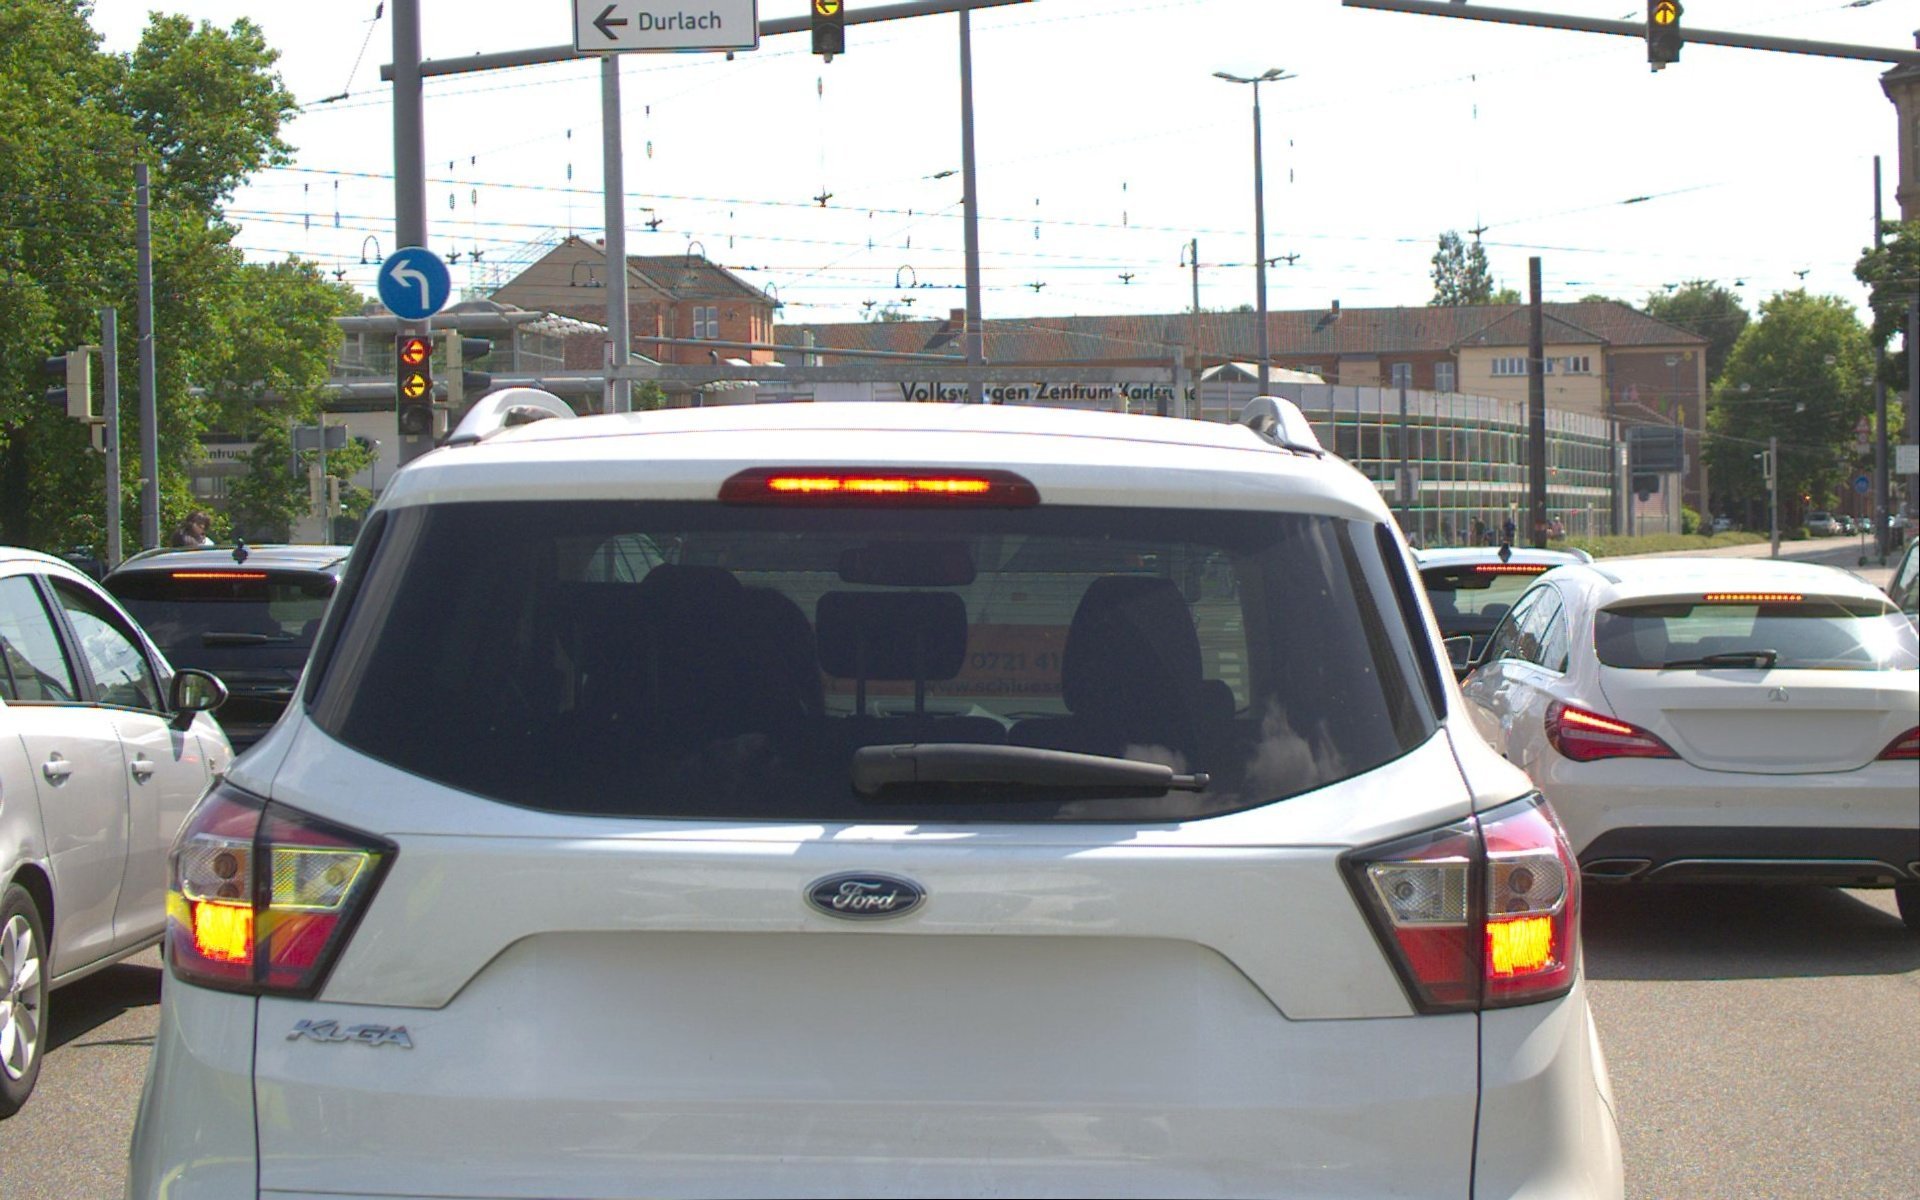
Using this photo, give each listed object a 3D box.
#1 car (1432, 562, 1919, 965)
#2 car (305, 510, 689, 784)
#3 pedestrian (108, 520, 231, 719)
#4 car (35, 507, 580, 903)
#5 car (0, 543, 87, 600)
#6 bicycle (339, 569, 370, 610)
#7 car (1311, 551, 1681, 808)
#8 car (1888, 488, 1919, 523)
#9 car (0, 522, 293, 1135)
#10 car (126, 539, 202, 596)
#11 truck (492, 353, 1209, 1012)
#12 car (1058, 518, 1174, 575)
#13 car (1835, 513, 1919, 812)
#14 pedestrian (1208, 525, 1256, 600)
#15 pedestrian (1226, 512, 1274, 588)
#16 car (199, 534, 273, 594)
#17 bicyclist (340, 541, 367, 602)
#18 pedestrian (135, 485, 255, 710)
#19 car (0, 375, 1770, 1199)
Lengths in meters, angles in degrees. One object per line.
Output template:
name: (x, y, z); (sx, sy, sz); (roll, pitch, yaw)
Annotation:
car: (3.010, 0.558, 14.017); (1.850, 1.414, 3.679); (0, 1, 3)
car: (-2.851, 0.233, 22.123); (2.039, 1.573, 4.540); (0, 1, -2)
pedestrian: (-6.665, 0.158, 29.004); (0.847, 1.642, 0.692); (-1, 0, -1)
car: (-2.861, 0.376, 16.038); (1.762, 1.563, 4.527); (-1, 1, -1)
car: (-33.336, -1.029, 124.805); (1.967, 1.930, 5.069); (-3, 0, -1)
bicycle: (-17.151, -0.304, 97.365); (0.637, 1.121, 1.785); (-1, 2, -18)
car: (3.143, 0.414, 20.818); (1.850, 1.414, 3.679); (0, 1, 3)
car: (46.782, -4.621, 169.132); (1.838, 1.646, 3.996); (0, 0, 20)
car: (-3.256, 0.532, 10.071); (1.848, 1.469, 4.000); (-1, 1, -1)
car: (-28.663, -1.146, 123.898); (1.967, 1.930, 4.231); (-3, 0, -5)
truck: (-0.323, 0.213, 14.150); (2.339, 2.148, 5.852); (0, 1, 1)
car: (4.284, -1.470, 93.684); (1.901, 1.456, 3.964); (-2, 1, 22)
car: (6.301, 0.337, 19.857); (1.837, 1.646, 3.999); (0, 0, 6)
pedestrian: (6.338, -0.864, 80.119); (0.924, 1.738, 0.589); (0, 1, -39)
pedestrian: (6.694, -1.158, 79.407); (0.924, 1.738, 0.589); (0, 1, -39)
car: (-26.003, -1.274, 123.642); (1.993, 2.007, 4.231); (-3, 0, -5)
bicyclist: (-17.210, -0.811, 97.522); (0.637, 1.732, 0.662); (-1, 2, -19)
pedestrian: (-6.636, -0.024, 29.860); (0.847, 1.910, 0.692); (-1, 0, -1)
car: (-0.020, 0.579, 5.389); (1.827, 1.658, 3.955); (0, 1, 3)
